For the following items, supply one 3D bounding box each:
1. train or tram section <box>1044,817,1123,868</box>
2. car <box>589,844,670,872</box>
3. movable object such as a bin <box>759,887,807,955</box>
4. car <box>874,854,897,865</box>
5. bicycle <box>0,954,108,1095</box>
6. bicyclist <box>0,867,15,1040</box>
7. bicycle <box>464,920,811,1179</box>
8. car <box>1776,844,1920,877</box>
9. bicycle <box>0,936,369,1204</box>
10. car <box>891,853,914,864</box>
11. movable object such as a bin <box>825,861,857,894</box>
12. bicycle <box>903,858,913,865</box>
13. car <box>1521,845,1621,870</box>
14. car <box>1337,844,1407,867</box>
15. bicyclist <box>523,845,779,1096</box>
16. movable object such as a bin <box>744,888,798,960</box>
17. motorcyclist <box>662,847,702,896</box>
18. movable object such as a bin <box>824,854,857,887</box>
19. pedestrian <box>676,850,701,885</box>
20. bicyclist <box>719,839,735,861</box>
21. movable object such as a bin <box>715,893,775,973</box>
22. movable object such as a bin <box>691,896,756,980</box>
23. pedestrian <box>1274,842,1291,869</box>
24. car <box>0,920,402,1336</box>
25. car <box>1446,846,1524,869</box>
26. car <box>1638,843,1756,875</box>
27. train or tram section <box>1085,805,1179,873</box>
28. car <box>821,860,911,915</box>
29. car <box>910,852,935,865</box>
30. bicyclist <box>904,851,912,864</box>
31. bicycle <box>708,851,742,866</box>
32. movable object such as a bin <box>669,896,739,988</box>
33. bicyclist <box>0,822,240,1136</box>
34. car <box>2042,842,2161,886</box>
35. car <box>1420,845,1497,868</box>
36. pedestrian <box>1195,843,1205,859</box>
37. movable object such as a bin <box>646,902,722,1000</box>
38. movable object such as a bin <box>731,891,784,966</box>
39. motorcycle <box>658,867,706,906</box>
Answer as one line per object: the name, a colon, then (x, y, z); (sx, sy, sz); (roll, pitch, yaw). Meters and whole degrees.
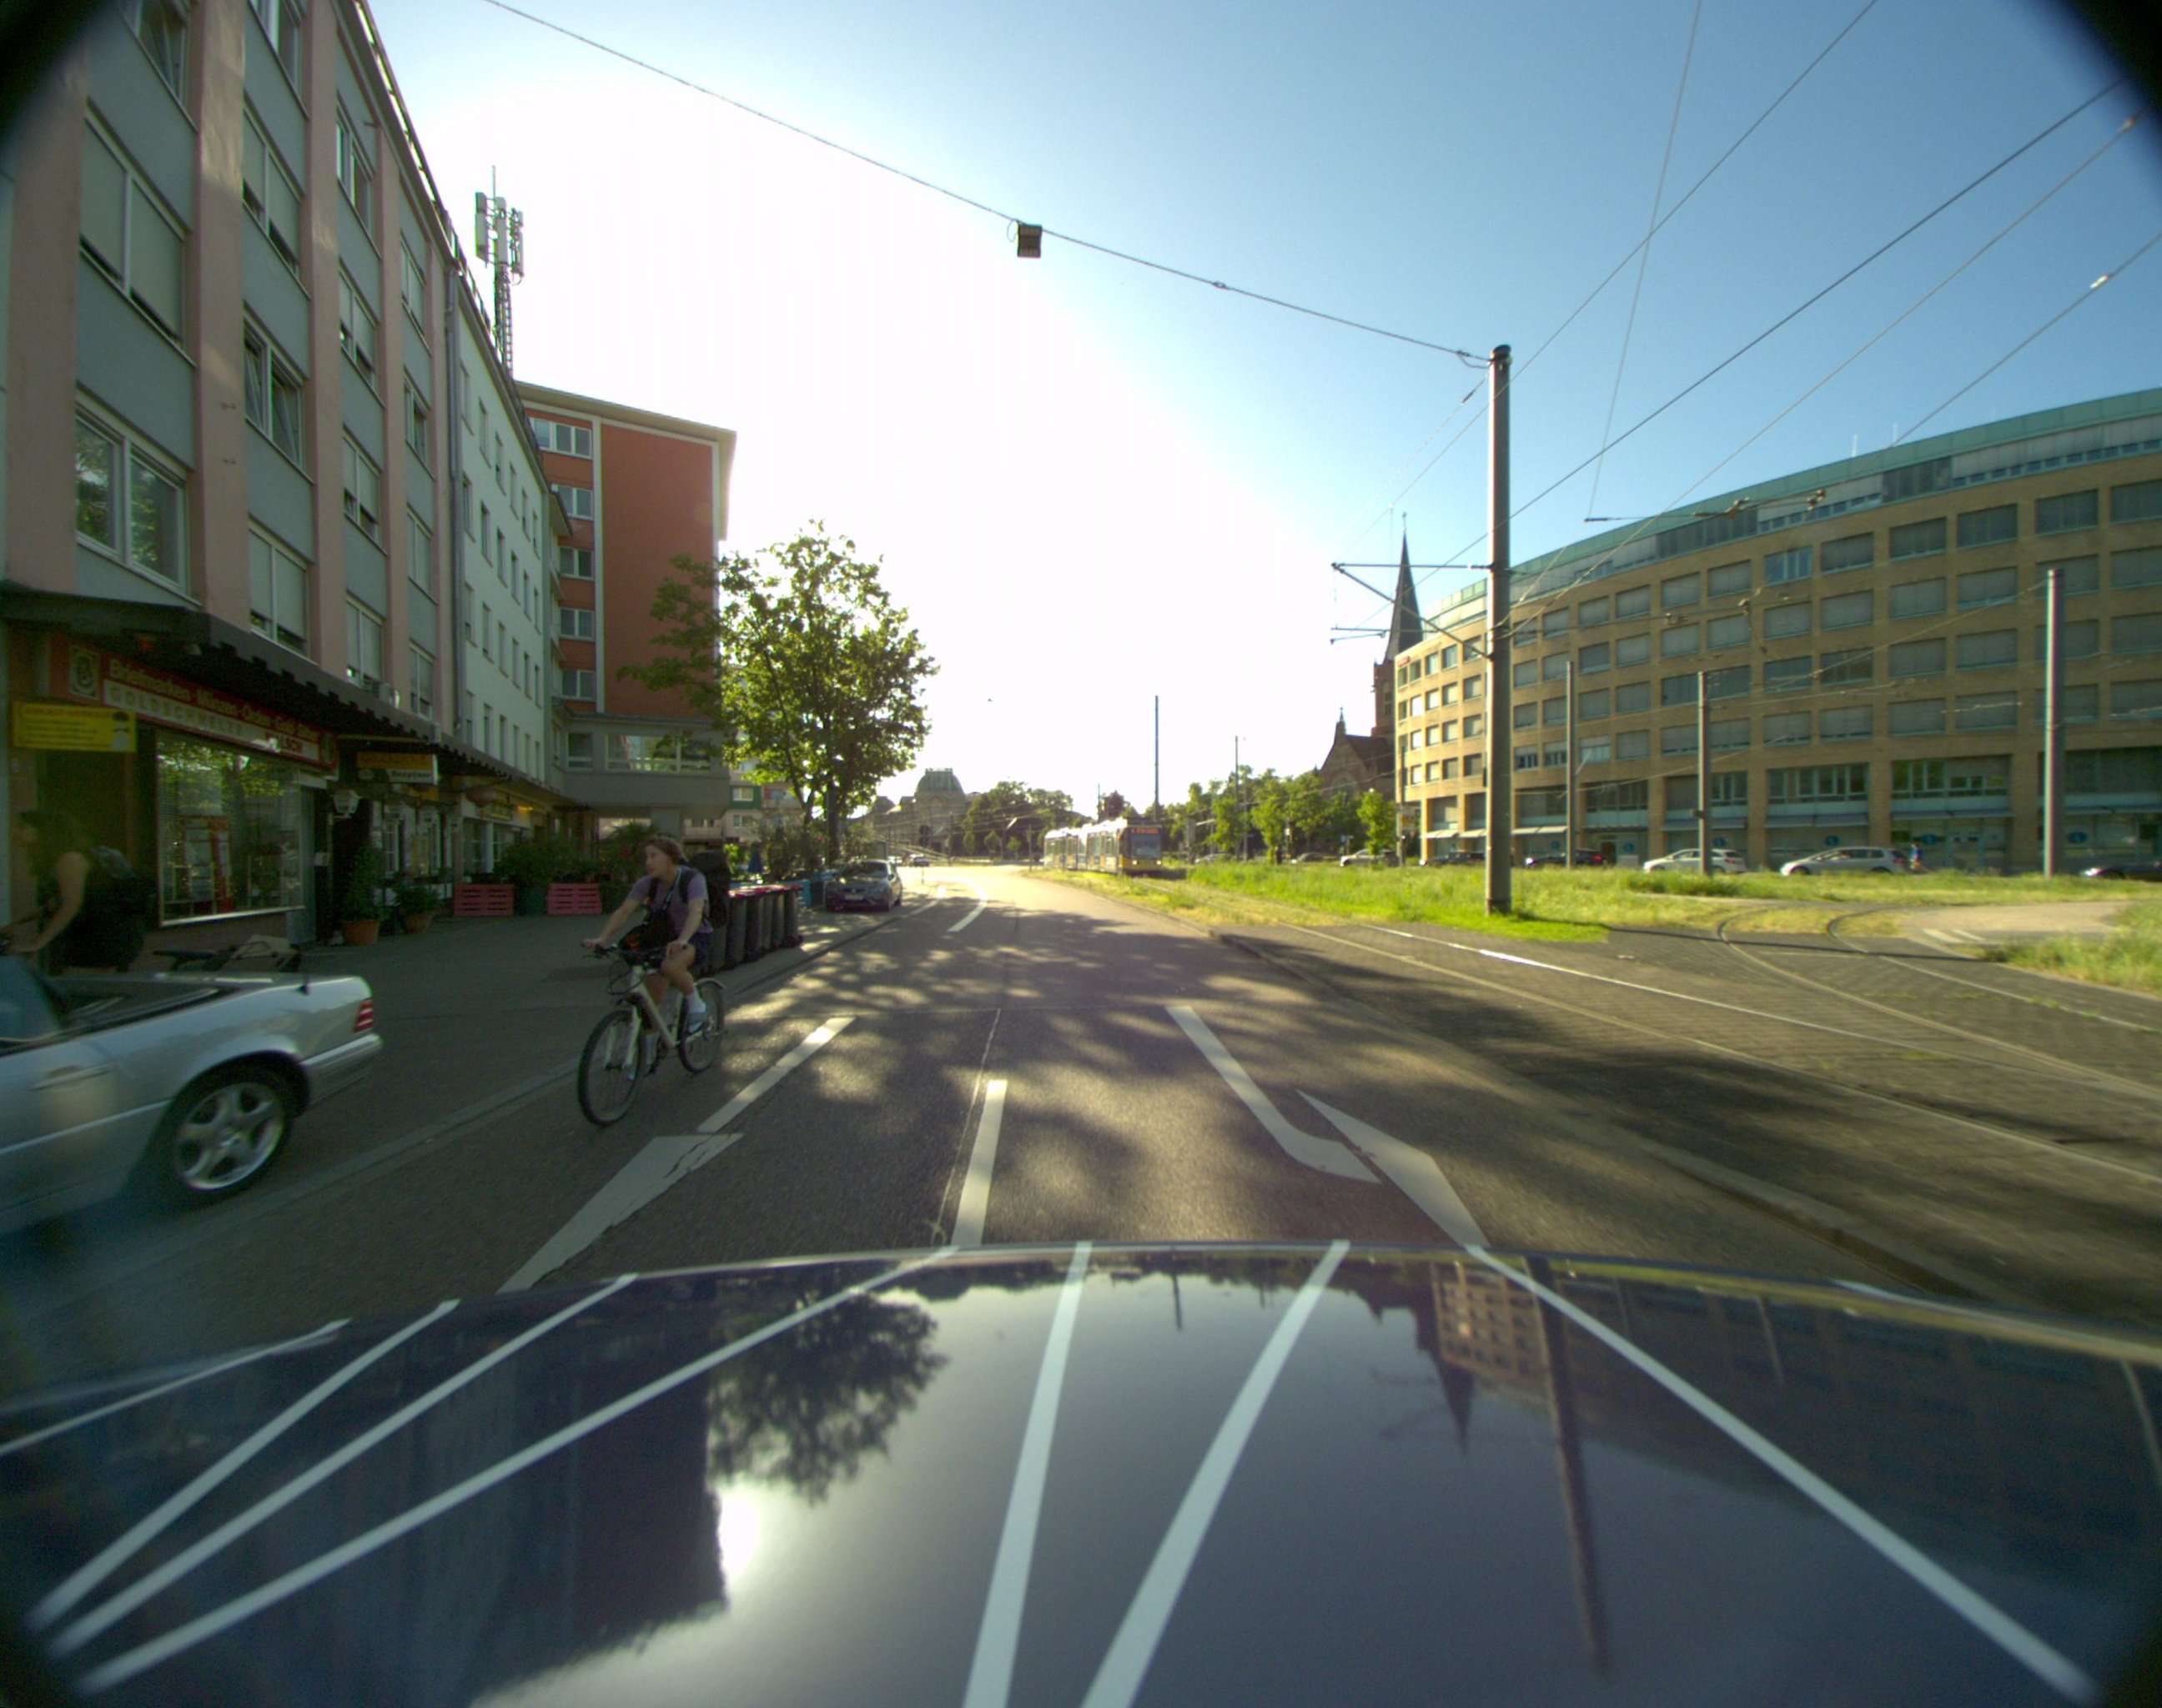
train or tram section: (-0.085, -0.827, 61.655); (2.960, 3.591, 13.616); (-2, 0, -15)
car: (-35.775, 0.302, 60.394); (5.261, 2.186, 2.373); (-1, 0, -23)
movable object such as a bin: (-5.071, 1.124, 12.965); (0.575, 1.076, 0.570); (-2, 2, -6)
car: (-25.720, 0.712, 99.886); (1.991, 1.284, 4.383); (-1, 0, -27)
bicycle: (-7.756, 1.251, 4.849); (0.536, 0.886, 2.068); (-2, 2, -6)
bicyclist: (-7.764, 0.643, 4.727); (0.760, 1.319, 0.993); (-2, 2, -7)
bicycle: (-2.770, 1.152, 5.178); (0.887, 1.129, 2.229); (-2, 2, 4)
car: (36.623, 0.272, 36.417); (2.003, 1.419, 4.499); (-3, 2, -31)
bicycle: (-5.774, 1.223, 4.559); (0.820, 1.178, 1.967); (-1, 2, 29)
car: (-24.931, 0.571, 106.026); (2.002, 1.421, 4.123); (-3, 2, -27)
movable object such as a bin: (-10.464, 1.009, 33.092); (1.177, 1.348, 0.925); (-3, 2, -25)
bicycle: (-23.000, 0.988, 100.930); (0.632, 0.934, 1.901); (-3, 2, -32)
car: (30.712, 0.188, 47.833); (2.002, 1.439, 5.009); (-3, 2, -24)
car: (23.373, 0.130, 61.174); (2.110, 1.724, 5.074); (-1, 0, -29)
bicyclist: (-2.786, 0.706, 5.070); (1.040, 1.476, 0.988); (-2, 2, 4)
movable object such as a bin: (-5.007, 1.120, 12.302); (0.621, 1.063, 0.610); (-2, 2, -6)
motorcyclist: (-13.193, 0.568, 25.153); (0.900, 1.542, 0.805); (-2, 2, -12)
movable object such as a bin: (-12.156, 0.818, 38.387); (1.387, 1.630, 1.006); (-2, 2, -28)
pedestrian: (-20.804, 0.711, 40.315); (0.828, 1.834, 0.891); (-2, 2, -5)
bicyclist: (-26.216, -0.319, 56.219); (0.937, 1.551, 0.939); (-3, 2, -29)
movable object such as a bin: (-4.904, 1.139, 11.124); (0.608, 1.063, 0.613); (-2, 2, -7)
movable object such as a bin: (-4.898, 1.140, 10.442); (0.606, 1.063, 0.545); (-2, 2, -6)
pedestrian: (12.622, 0.106, 47.628); (0.736, 1.661, 0.744); (-1, 1, -10)
car: (-4.885, 1.143, 2.116); (1.856, 1.336, 4.597); (-2, 2, -1)
car: (32.493, 0.226, 61.281); (2.127, 1.659, 5.199); (-3, 2, -27)
car: (33.756, 0.236, 41.786); (2.003, 1.587, 4.645); (-3, 2, -29)
train or tram section: (2.850, -0.835, 47.975); (2.959, 3.664, 13.173); (-2, 0, -9)
car: (-6.323, 0.924, 22.869); (1.771, 1.430, 4.581); (0, 0, -5)
car: (-20.209, 0.571, 96.634); (2.002, 1.528, 4.346); (-3, 2, -27)
bicyclist: (-23.012, 0.422, 100.893); (0.705, 1.720, 0.852); (-3, 2, -32)
bicycle: (-26.305, 0.309, 56.184); (2.151, 0.995, 0.859); (-3, 2, -29)
movable object such as a bin: (-4.885, 1.125, 9.873); (0.612, 1.099, 0.525); (-2, 2, -6)
bicyclist: (-5.850, 0.645, 4.474); (0.940, 1.624, 0.937); (-1, 2, 29)
car: (40.971, 0.397, 29.486); (2.003, 1.505, 4.270); (-2, 4, -32)
car: (26.911, 0.155, 54.332); (2.003, 1.508, 4.651); (-3, 2, -28)
pedestrian: (15.697, -0.379, 100.041); (0.880, 2.002, 0.923); (-3, 2, -26)
movable object such as a bin: (-4.833, 1.164, 9.283); (0.594, 1.077, 0.604); (-2, 2, -6)
movable object such as a bin: (-4.973, 1.135, 11.708); (0.593, 1.063, 0.495); (-2, 2, -6)
motorcycle: (-13.168, 1.036, 25.162); (0.778, 1.120, 2.294); (-2, 2, -12)
